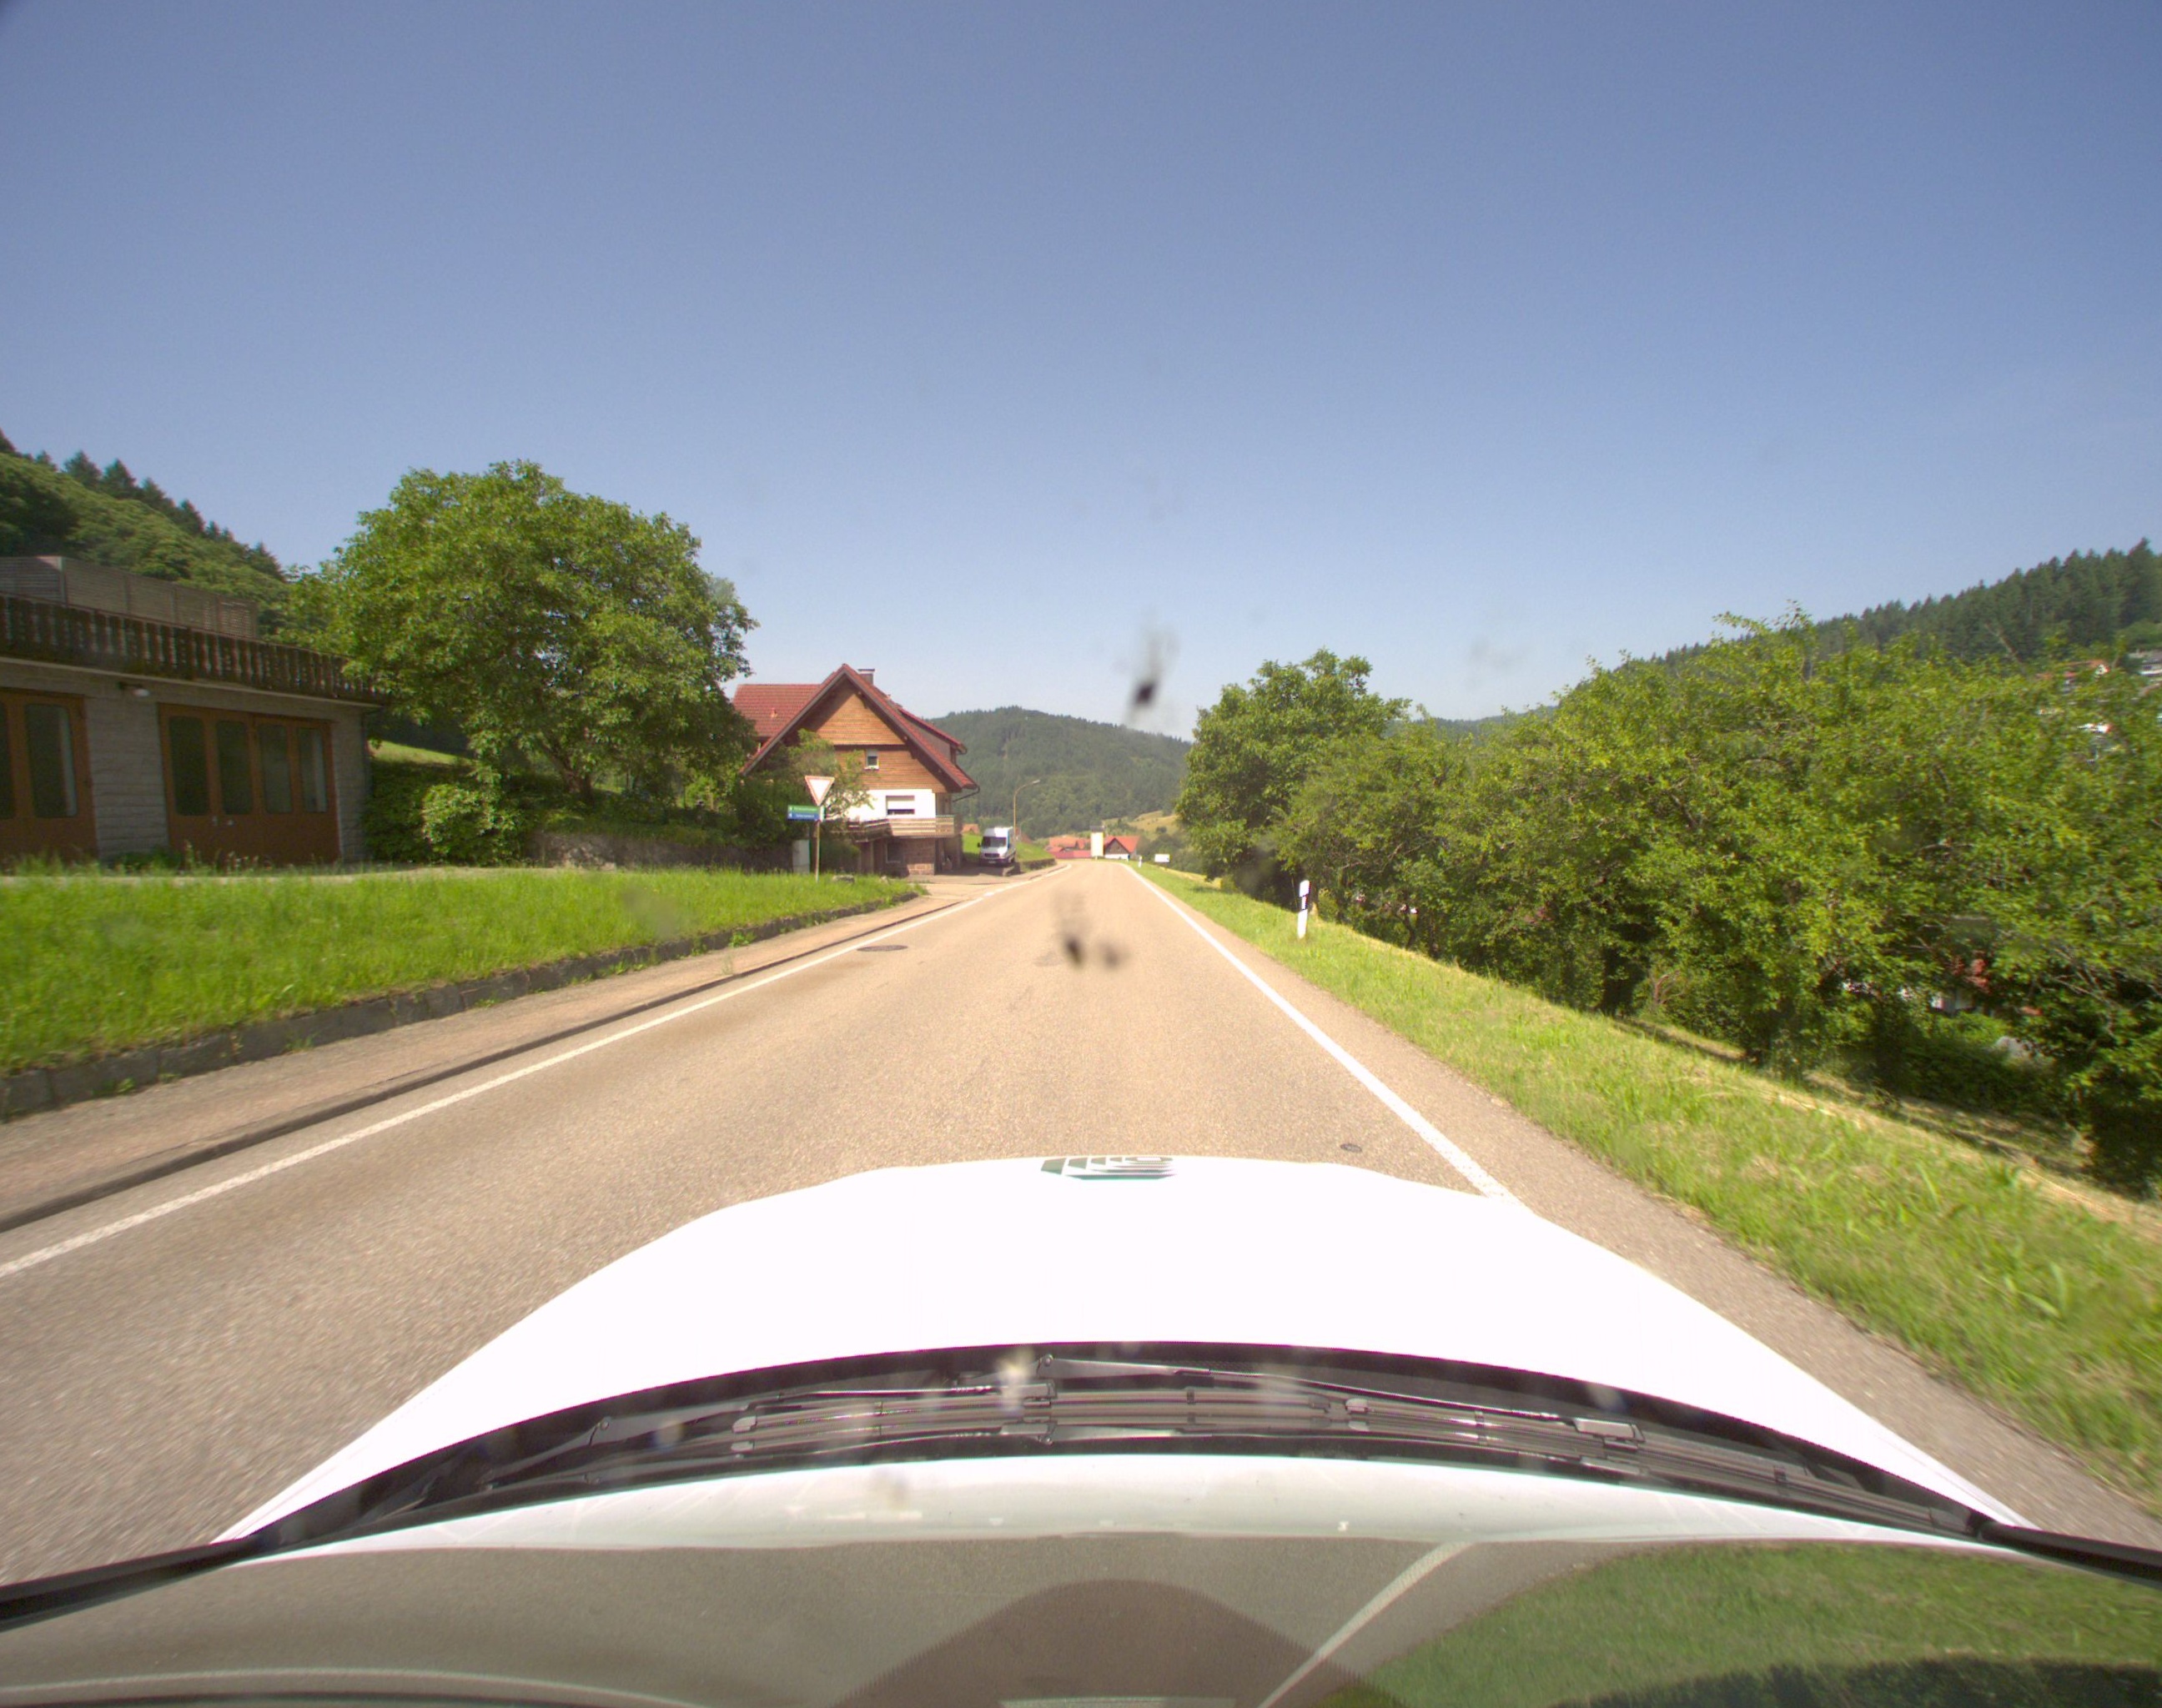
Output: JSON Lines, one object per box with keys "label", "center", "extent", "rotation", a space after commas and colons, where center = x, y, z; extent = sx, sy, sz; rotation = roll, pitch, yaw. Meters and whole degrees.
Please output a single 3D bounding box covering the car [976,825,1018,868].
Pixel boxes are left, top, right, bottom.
{"label": "car", "center": [-5.877, -0.646, 57.913], "extent": [2.060, 2.688, 7.178], "rotation": [-1, 3, 1]}
